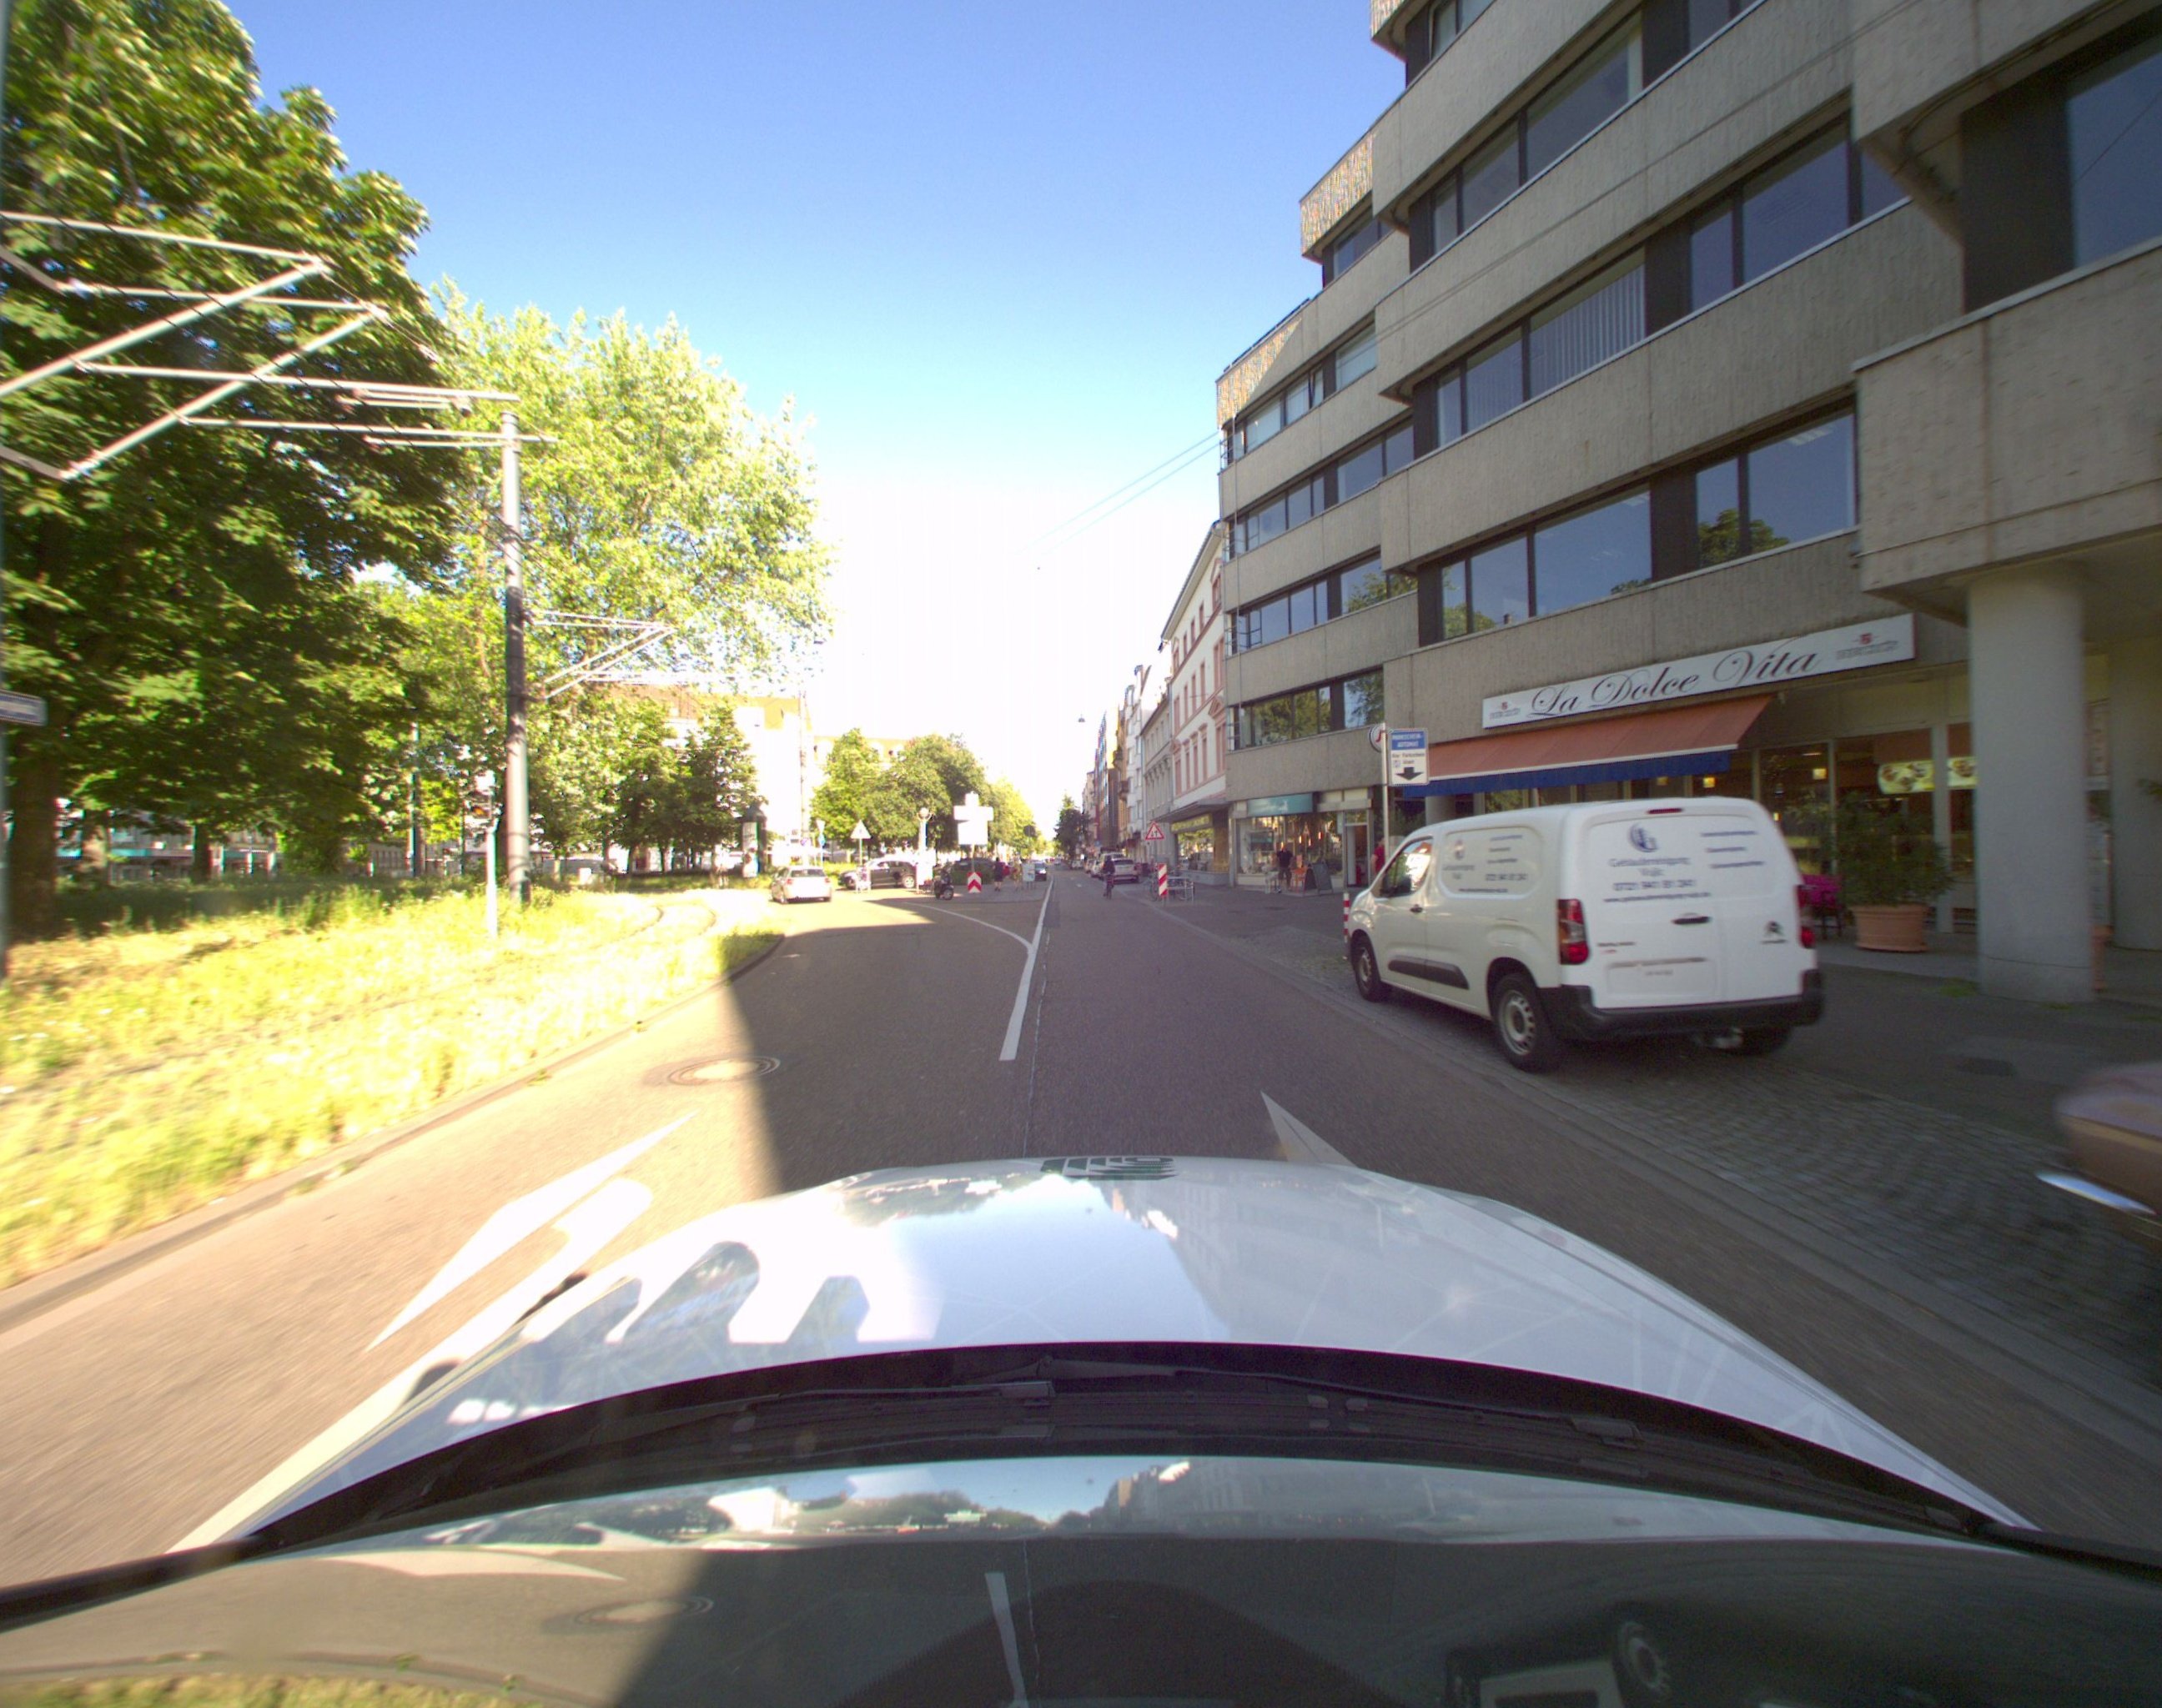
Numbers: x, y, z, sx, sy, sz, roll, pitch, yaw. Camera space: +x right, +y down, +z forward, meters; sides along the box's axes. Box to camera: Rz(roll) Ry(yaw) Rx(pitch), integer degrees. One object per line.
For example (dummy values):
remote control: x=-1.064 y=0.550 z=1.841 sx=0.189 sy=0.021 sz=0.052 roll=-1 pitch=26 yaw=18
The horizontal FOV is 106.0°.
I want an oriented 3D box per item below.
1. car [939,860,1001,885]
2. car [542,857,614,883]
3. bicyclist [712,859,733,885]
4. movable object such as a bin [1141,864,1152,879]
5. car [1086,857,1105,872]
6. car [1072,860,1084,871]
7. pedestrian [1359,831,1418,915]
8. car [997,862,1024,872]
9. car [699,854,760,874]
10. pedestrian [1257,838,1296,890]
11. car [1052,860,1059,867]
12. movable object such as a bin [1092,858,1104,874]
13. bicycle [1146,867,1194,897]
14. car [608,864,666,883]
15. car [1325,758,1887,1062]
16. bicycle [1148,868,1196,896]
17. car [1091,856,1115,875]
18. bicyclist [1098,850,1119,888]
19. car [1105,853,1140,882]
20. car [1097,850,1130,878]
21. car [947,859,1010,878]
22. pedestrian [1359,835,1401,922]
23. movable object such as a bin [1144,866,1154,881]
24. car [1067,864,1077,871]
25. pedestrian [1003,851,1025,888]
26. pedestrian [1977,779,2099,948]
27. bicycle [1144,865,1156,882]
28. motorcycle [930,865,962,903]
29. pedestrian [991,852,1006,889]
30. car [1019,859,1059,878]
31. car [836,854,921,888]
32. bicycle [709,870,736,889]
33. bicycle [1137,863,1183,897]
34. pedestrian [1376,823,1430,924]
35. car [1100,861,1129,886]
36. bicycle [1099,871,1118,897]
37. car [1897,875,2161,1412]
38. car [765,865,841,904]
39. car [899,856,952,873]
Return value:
car: x=-7.715 y=1.276 z=56.387 sx=3.998 sy=1.668 sz=1.988 roll=1 pitch=-1 yaw=-18
car: x=-45.894 y=1.512 z=74.463 sx=5.362 sy=2.314 sz=1.983 roll=1 pitch=-2 yaw=-25
bicyclist: x=-20.898 y=1.062 z=47.479 sx=0.936 sy=1.507 sz=0.816 roll=2 pitch=-3 yaw=-39
movable object such as a bin: x=5.134 y=1.392 z=63.778 sx=0.836 sy=1.137 sz=0.699 roll=-1 pitch=-2 yaw=1
car: x=1.562 y=1.206 z=91.244 sx=1.894 sy=1.675 sz=4.820 roll=0 pitch=-2 yaw=-2
car: x=-0.453 y=1.885 z=132.521 sx=1.987 sy=1.618 sz=4.009 roll=1 pitch=-2 yaw=0
pedestrian: x=6.506 y=0.390 z=17.226 sx=0.846 sy=1.710 sz=0.713 roll=-2 pitch=-1 yaw=-30
car: x=-10.724 y=1.950 z=124.852 sx=3.976 sy=1.508 sz=1.999 roll=0 pitch=-2 yaw=-2
car: x=-36.486 y=1.062 z=84.549 sx=5.608 sy=2.014 sz=1.801 roll=1 pitch=-2 yaw=-29
pedestrian: x=6.802 y=0.359 z=28.373 sx=1.128 sy=1.743 sz=1.022 roll=0 pitch=-2 yaw=0
car: x=-6.434 y=2.354 z=206.321 sx=1.865 sy=1.556 sz=3.997 roll=0 pitch=-2 yaw=-1
movable object such as a bin: x=1.666 y=1.172 z=80.864 sx=1.069 sy=1.457 sz=1.493 roll=-4 pitch=0 yaw=3
bicycle: x=3.202 y=0.995 z=29.155 sx=1.667 sy=1.062 sz=0.345 roll=0 pitch=-2 yaw=14
car: x=-44.114 y=1.953 z=81.069 sx=4.878 sy=1.804 sz=1.894 roll=1 pitch=-2 yaw=-24
car: x=3.824 y=0.404 z=7.065 sx=1.988 sy=1.813 sz=4.305 roll=0 pitch=-2 yaw=-2
bicycle: x=3.307 y=1.007 z=29.526 sx=1.691 sy=1.004 sz=0.429 roll=0 pitch=-2 yaw=14
car: x=1.885 y=1.023 z=70.188 sx=1.714 sy=1.515 sz=3.579 roll=-3 pitch=-2 yaw=-2
bicyclist: x=1.079 y=0.597 z=31.954 sx=0.784 sy=1.453 sz=1.095 roll=0 pitch=-2 yaw=-1
car: x=2.523 y=0.877 z=50.668 sx=1.741 sy=1.739 sz=4.955 roll=0 pitch=-2 yaw=-2
car: x=2.350 y=0.732 z=60.677 sx=1.989 sy=2.005 sz=5.111 roll=-1 pitch=-1 yaw=-3
car: x=-8.518 y=1.242 z=67.727 sx=4.859 sy=1.488 sz=1.750 roll=1 pitch=-2 yaw=-26
pedestrian: x=5.993 y=0.490 z=16.358 sx=0.581 sy=1.715 sz=0.698 roll=0 pitch=-2 yaw=1
movable object such as a bin: x=5.156 y=1.470 z=61.795 sx=0.766 sy=1.161 sz=0.578 roll=0 pitch=-2 yaw=1
car: x=-1.834 y=2.781 z=164.810 sx=1.989 sy=1.453 sz=3.996 roll=0 pitch=-1 yaw=-2
pedestrian: x=-3.171 y=0.741 z=38.475 sx=0.795 sy=1.699 sz=0.674 roll=-1 pitch=-2 yaw=28
pedestrian: x=10.837 y=0.116 z=9.234 sx=0.718 sy=1.816 sz=0.700 roll=1 pitch=-2 yaw=-25
bicycle: x=5.052 y=1.420 z=59.739 sx=0.479 sy=1.186 sz=1.727 roll=-4 pitch=-3 yaw=16
motorcycle: x=-5.057 y=1.097 z=30.432 sx=0.749 sy=1.374 sz=1.746 roll=1 pitch=-2 yaw=-25
pedestrian: x=-3.846 y=0.775 z=37.999 sx=0.634 sy=1.672 sz=0.692 roll=0 pitch=-2 yaw=-2
car: x=-3.154 y=1.121 z=61.701 sx=1.899 sy=1.417 sz=4.824 roll=0 pitch=-2 yaw=11
car: x=-10.400 y=0.867 z=41.885 sx=3.887 sy=1.682 sz=1.792 roll=0 pitch=-2 yaw=-36
bicycle: x=-20.941 y=1.481 z=47.516 sx=0.816 sy=1.069 sz=2.553 roll=2 pitch=-2 yaw=-39
bicycle: x=2.996 y=0.976 z=30.915 sx=1.608 sy=1.243 sz=0.662 roll=0 pitch=-2 yaw=18
pedestrian: x=6.141 y=0.378 z=15.560 sx=0.668 sy=1.856 sz=0.610 roll=-3 pitch=-2 yaw=1
car: x=2.258 y=1.339 z=55.712 sx=1.694 sy=1.604 sz=3.754 roll=-1 pitch=-2 yaw=-1
bicycle: x=1.075 y=1.165 z=32.034 sx=0.650 sy=0.958 sz=2.697 roll=0 pitch=-2 yaw=0
car: x=3.804 y=0.740 z=0.555 sx=1.768 sy=1.454 sz=4.730 roll=0 pitch=-2 yaw=0
car: x=-10.742 y=1.156 z=31.327 sx=2.006 sy=1.423 sz=4.156 roll=1 pitch=-2 yaw=-30
car: x=-17.013 y=1.192 z=89.357 sx=5.294 sy=1.800 sz=2.143 roll=1 pitch=-2 yaw=-29
